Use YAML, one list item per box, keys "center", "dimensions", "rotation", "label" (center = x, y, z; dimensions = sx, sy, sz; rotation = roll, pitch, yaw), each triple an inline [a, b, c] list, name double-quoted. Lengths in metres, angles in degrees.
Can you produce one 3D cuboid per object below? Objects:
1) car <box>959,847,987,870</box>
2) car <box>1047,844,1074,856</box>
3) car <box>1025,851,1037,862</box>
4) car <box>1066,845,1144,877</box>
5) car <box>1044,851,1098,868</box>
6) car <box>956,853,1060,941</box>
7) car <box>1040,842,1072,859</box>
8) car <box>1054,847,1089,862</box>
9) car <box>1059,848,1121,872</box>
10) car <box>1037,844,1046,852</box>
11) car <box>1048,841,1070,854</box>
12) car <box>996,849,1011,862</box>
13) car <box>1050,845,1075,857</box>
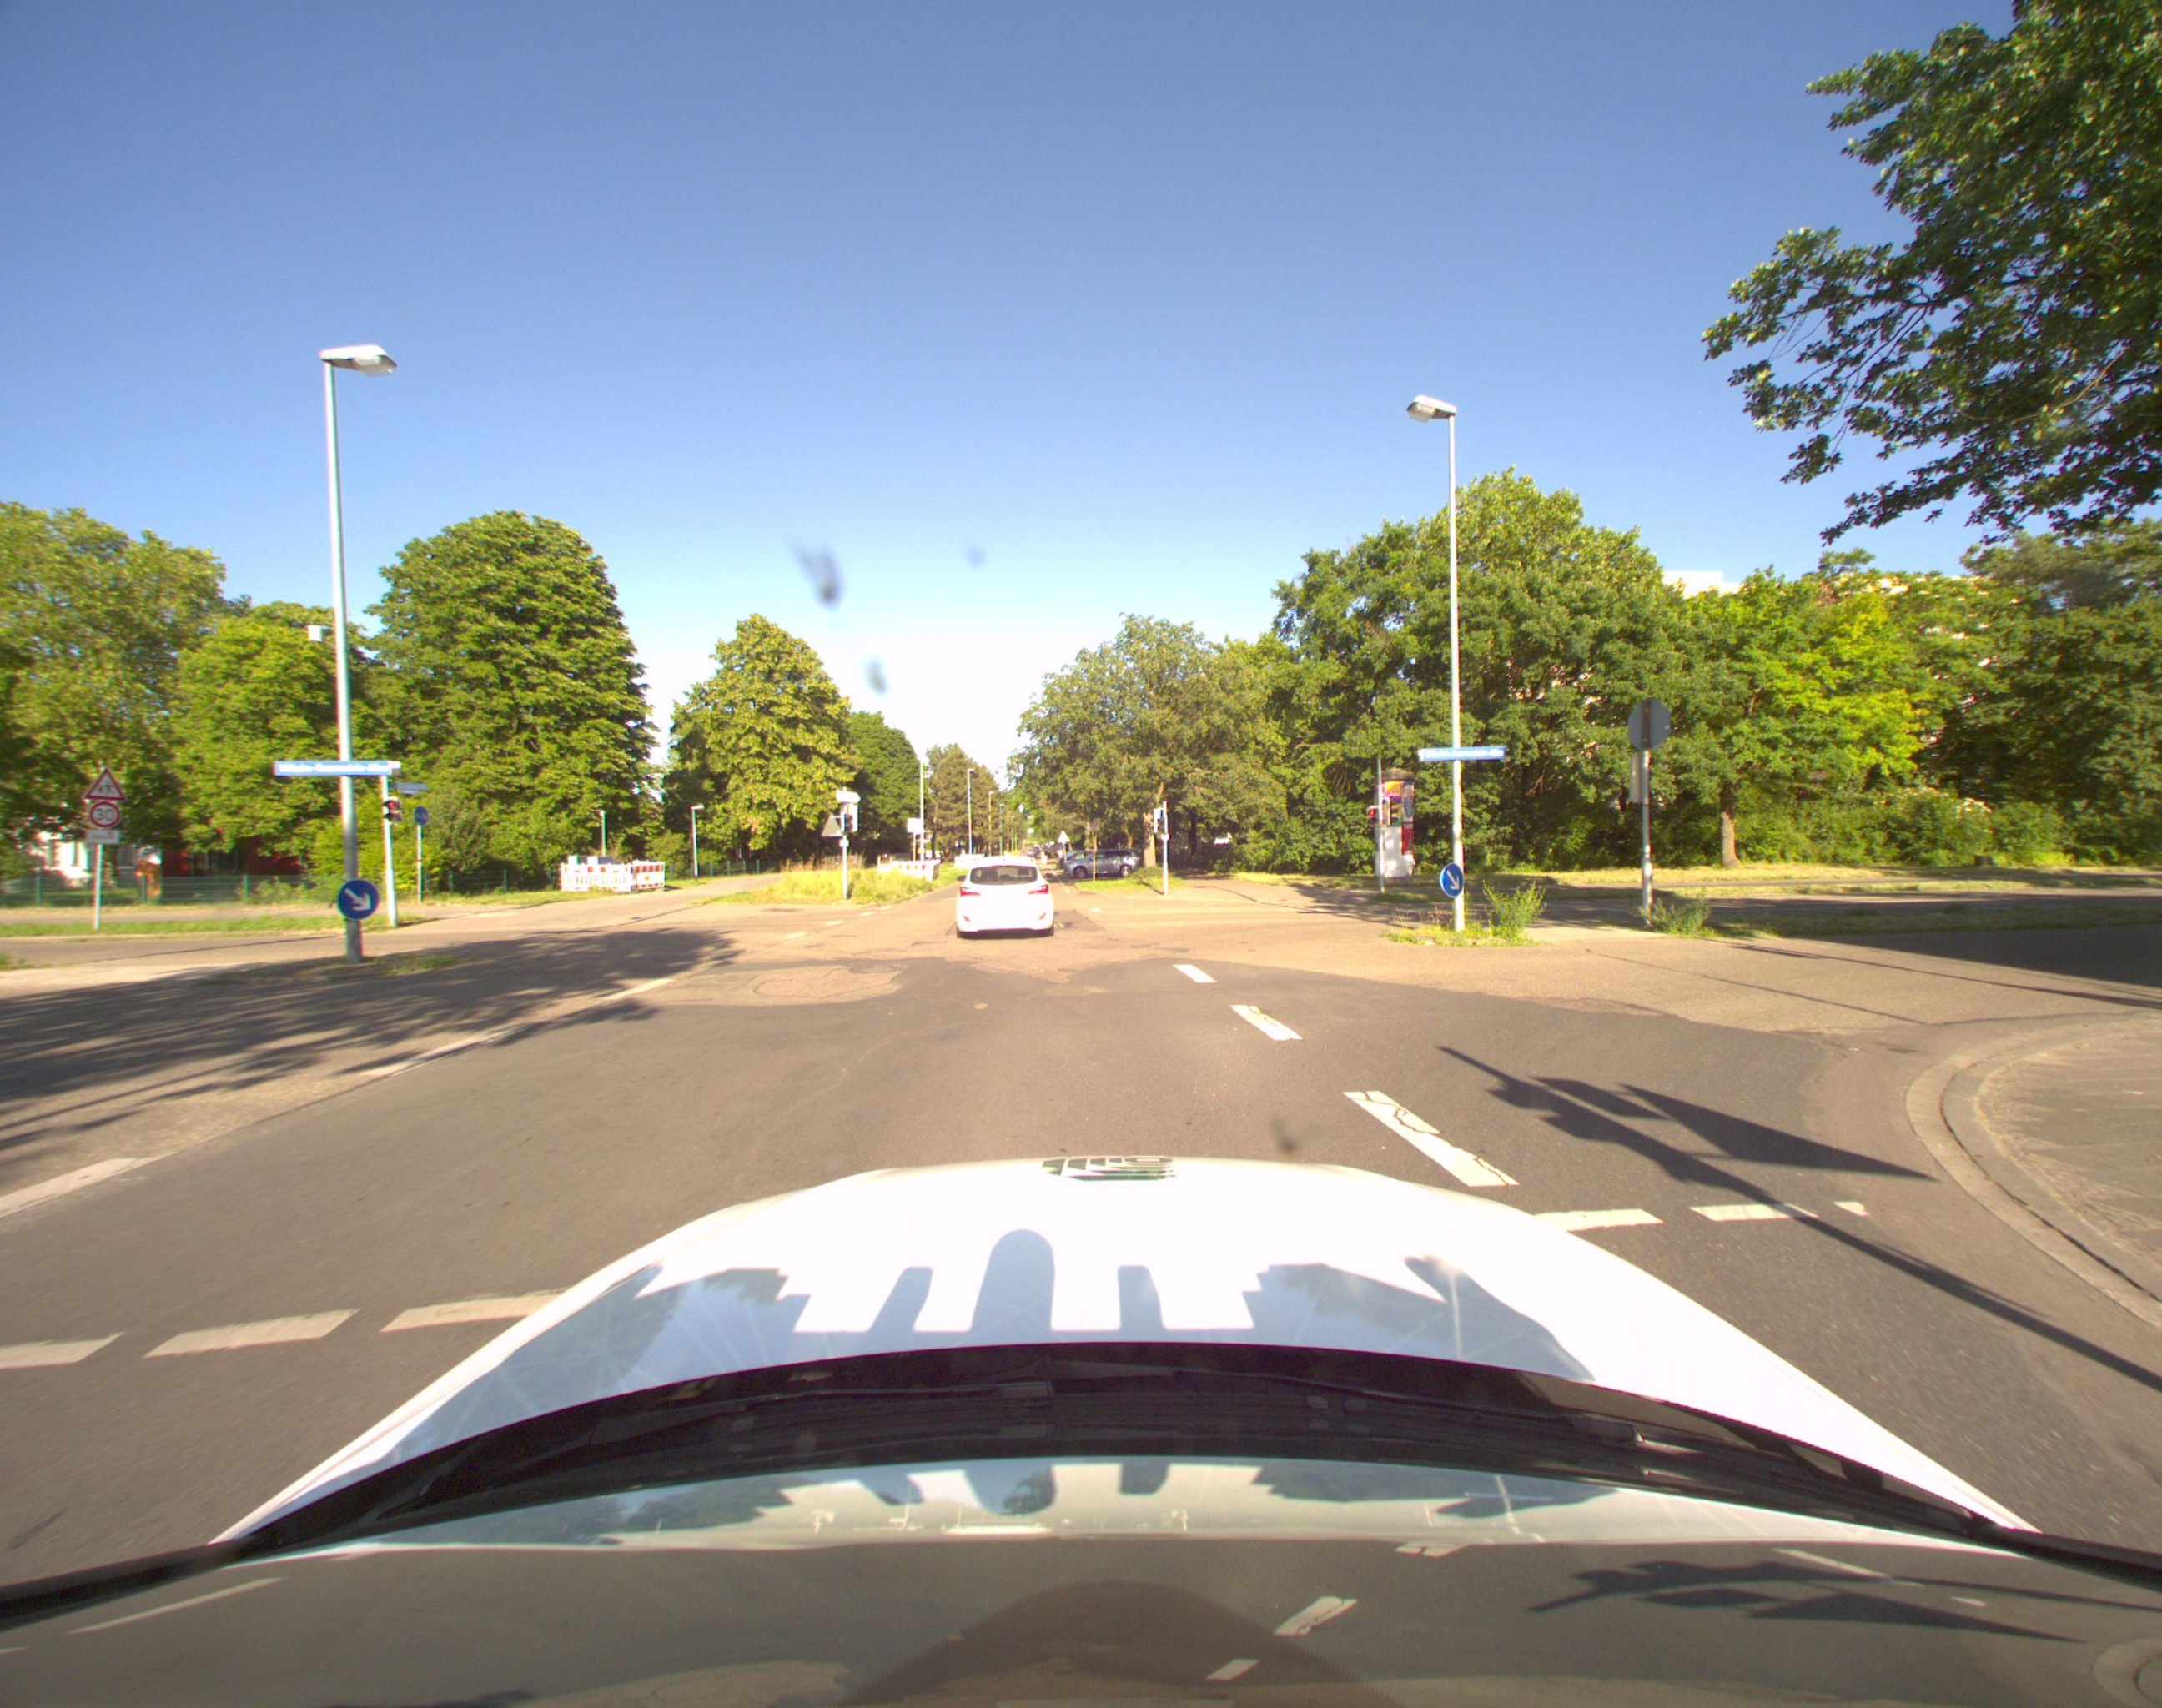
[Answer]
- center: [-9.451, 0.411, 71.530]
  dimensions: [1.989, 1.816, 3.996]
  rotation: [-2, -1, -3]
  label: "car"
- center: [-3.226, -0.660, 127.320]
  dimensions: [4.292, 1.907, 1.861]
  rotation: [0, 0, -4]
  label: "car"
- center: [-8.887, 0.429, 145.388]
  dimensions: [1.989, 1.816, 3.996]
  rotation: [2, 0, -3]
  label: "car"
- center: [1.384, 0.406, 48.192]
  dimensions: [4.485, 1.783, 1.854]
  rotation: [-1, 0, -1]
  label: "car"
- center: [-1.057, 0.543, 84.012]
  dimensions: [5.601, 1.684, 1.946]
  rotation: [0, 0, -4]
  label: "car"
- center: [-1.473, 0.744, 16.096]
  dimensions: [1.787, 1.463, 3.955]
  rotation: [0, 1, -6]
  label: "car"
- center: [-3.065, -0.455, 99.986]
  dimensions: [3.811, 2.098, 1.861]
  rotation: [0, 0, -4]
  label: "car"
- center: [-1.097, 0.038, 90.063]
  dimensions: [3.811, 1.684, 1.861]
  rotation: [0, 0, -4]
  label: "car"
- center: [0.646, 0.430, 60.369]
  dimensions: [4.485, 1.630, 1.854]
  rotation: [-1, 0, -1]
  label: "car"
- center: [-8.964, -1.379, 183.267]
  dimensions: [1.989, 1.816, 3.996]
  rotation: [0, 0, -3]
  label: "car"
- center: [-3.776, -1.109, 138.731]
  dimensions: [3.811, 2.299, 1.861]
  rotation: [0, 0, -4]
  label: "car"
- center: [-11.435, 0.180, 119.716]
  dimensions: [1.989, 1.816, 3.996]
  rotation: [0, 0, -3]
  label: "car"
- center: [-2.837, -0.499, 124.192]
  dimensions: [3.811, 1.767, 1.861]
  rotation: [0, 0, -4]
  label: "car"
